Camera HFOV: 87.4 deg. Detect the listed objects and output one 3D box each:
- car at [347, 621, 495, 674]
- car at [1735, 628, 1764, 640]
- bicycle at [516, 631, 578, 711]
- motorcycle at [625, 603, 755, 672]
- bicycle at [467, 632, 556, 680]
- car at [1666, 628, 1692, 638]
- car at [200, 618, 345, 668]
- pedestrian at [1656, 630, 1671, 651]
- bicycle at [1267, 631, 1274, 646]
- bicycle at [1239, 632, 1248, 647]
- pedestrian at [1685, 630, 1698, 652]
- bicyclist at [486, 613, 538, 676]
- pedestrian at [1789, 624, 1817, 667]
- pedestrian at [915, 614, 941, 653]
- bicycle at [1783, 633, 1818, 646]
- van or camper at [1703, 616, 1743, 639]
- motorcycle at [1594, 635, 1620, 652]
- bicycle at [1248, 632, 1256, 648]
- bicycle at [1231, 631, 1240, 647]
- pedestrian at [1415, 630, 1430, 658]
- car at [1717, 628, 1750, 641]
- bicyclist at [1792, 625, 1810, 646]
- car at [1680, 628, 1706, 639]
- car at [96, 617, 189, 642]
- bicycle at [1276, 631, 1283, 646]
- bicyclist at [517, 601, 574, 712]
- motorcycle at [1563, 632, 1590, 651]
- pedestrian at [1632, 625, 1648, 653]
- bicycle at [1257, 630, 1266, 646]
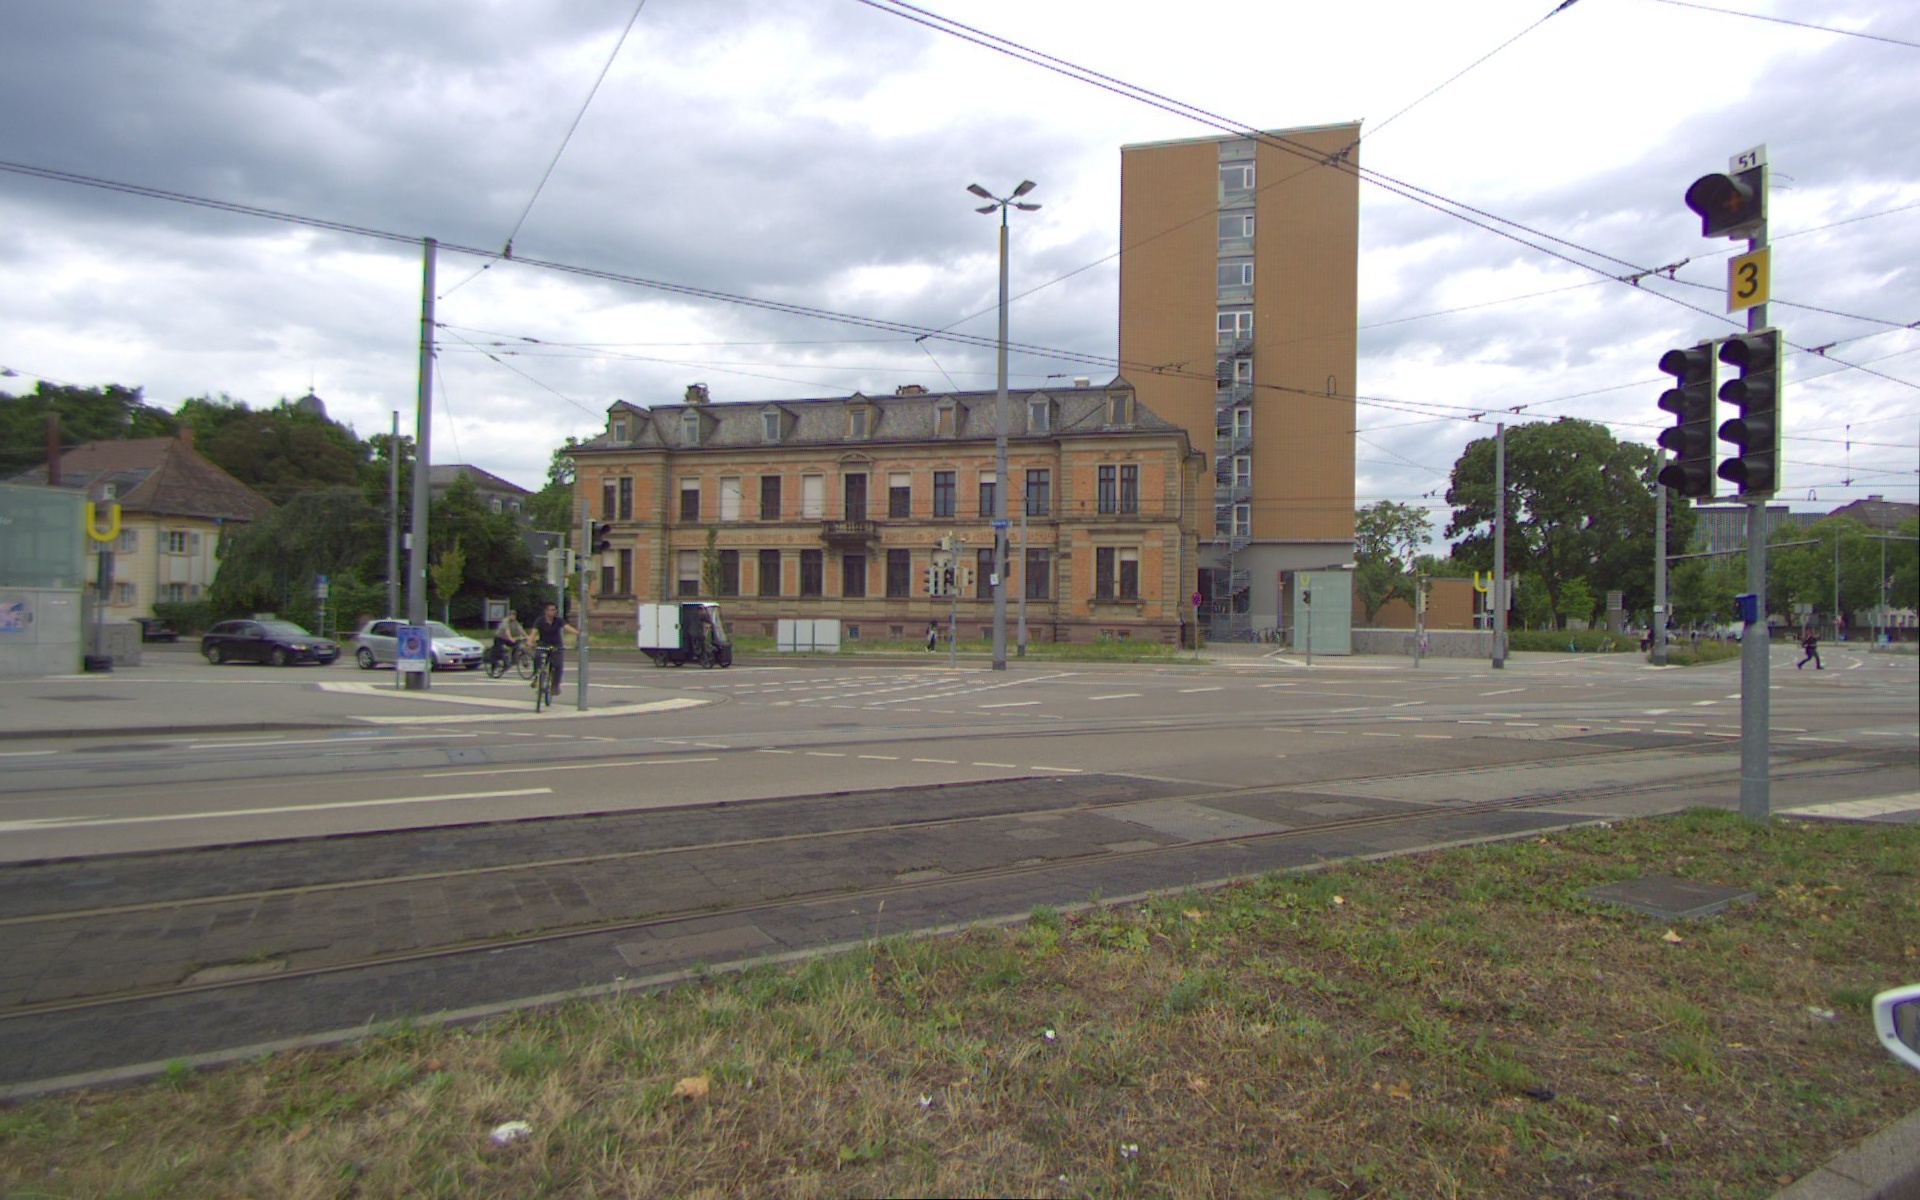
[{"bbox_3d":[-16.247,1.382,30.261,4.081,1.473,1.761,0,-1,23],"label":"car"},{"bbox_3d":[111.230,4.770,141.606,1.746,1.483,4.002,1,0,14],"label":"car"},{"bbox_3d":[-7.057,1.168,17.091,0.805,1.259,1.986,0,-2,-27],"label":"bicycle"},{"bbox_3d":[-8.480,1.134,31.583,3.614,2.040,1.696,0,-1,19],"label":"motorcycle"},{"bbox_3d":[-11.869,1.466,26.601,2.154,1.224,0.857,0,-2,20],"label":"bicycle"},{"bbox_3d":[113.894,5.265,159.137,1.745,1.483,4.002,1,0,11],"label":"car"},{"bbox_3d":[-22.045,1.354,32.231,4.061,1.468,1.697,1,-1,18],"label":"car"},{"bbox_3d":[67.158,3.883,95.933,0.785,2.007,0.875,2,-2,-26],"label":"pedestrian"},{"bbox_3d":[22.821,2.810,73.769,0.500,1.063,1.428,1,-1,18],"label":"bicycle"},{"bbox_3d":[20.990,2.907,74.304,0.561,1.120,1.428,1,-1,18],"label":"bicycle"},{"bbox_3d":[67.849,3.812,93.199,0.868,2.007,0.792,0,-2,42],"label":"pedestrian"},{"bbox_3d":[-11.858,1.166,26.608,0.899,1.644,0.855,0,-1,20],"label":"bicyclist"},{"bbox_3d":[40.844,2.183,48.680,1.009,2.040,0.842,0,-1,41],"label":"pedestrian"},{"bbox_3d":[-1.510,1.584,47.325,1.104,1.786,0.759,1,-1,8],"label":"pedestrian"},{"bbox_3d":[82.648,3.895,98.798,2.676,1.194,0.942,1,-1,-1],"label":"bicycle"},{"bbox_3d":[108.257,3.825,142.513,2.347,3.165,5.507,1,-1,12],"label":"van or camper"},{"bbox_3d":[43.683,2.942,67.840,1.716,1.126,0.510,1,-1,-17],"label":"motorcycle"},{"bbox_3d":[21.553,2.925,74.134,0.561,1.120,1.428,1,-1,18],"label":"bicycle"},{"bbox_3d":[20.426,2.905,74.477,0.561,1.120,1.428,1,-1,18],"label":"bicycle"},{"bbox_3d":[23.227,2.198,50.430,0.562,1.353,0.499,1,-1,10],"label":"pedestrian"},{"bbox_3d":[95.037,4.251,123.487,1.746,1.483,4.002,1,-1,14],"label":"car"},{"bbox_3d":[82.704,3.470,98.772,0.959,2.040,0.940,1,-1,-1],"label":"bicyclist"},{"bbox_3d":[109.927,5.052,150.618,1.746,1.483,4.002,1,0,15],"label":"car"},{"bbox_3d":[-45.035,1.599,55.357,3.919,1.305,1.936,1,-1,12],"label":"car"},{"bbox_3d":[23.395,2.795,73.645,0.472,1.063,1.428,1,-1,18],"label":"bicycle"},{"bbox_3d":[-7.087,0.937,17.160,0.805,1.822,1.022,0,0,-28],"label":"bicyclist"},{"bbox_3d":[41.580,2.800,67.714,1.443,1.285,0.512,1,-1,14],"label":"motorcycle"},{"bbox_3d":[48.687,2.781,71.922,0.781,2.007,0.880,1,-2,26],"label":"pedestrian"},{"bbox_3d":[22.197,2.801,73.967,0.561,1.120,1.428,1,-1,18],"label":"bicycle"}]
